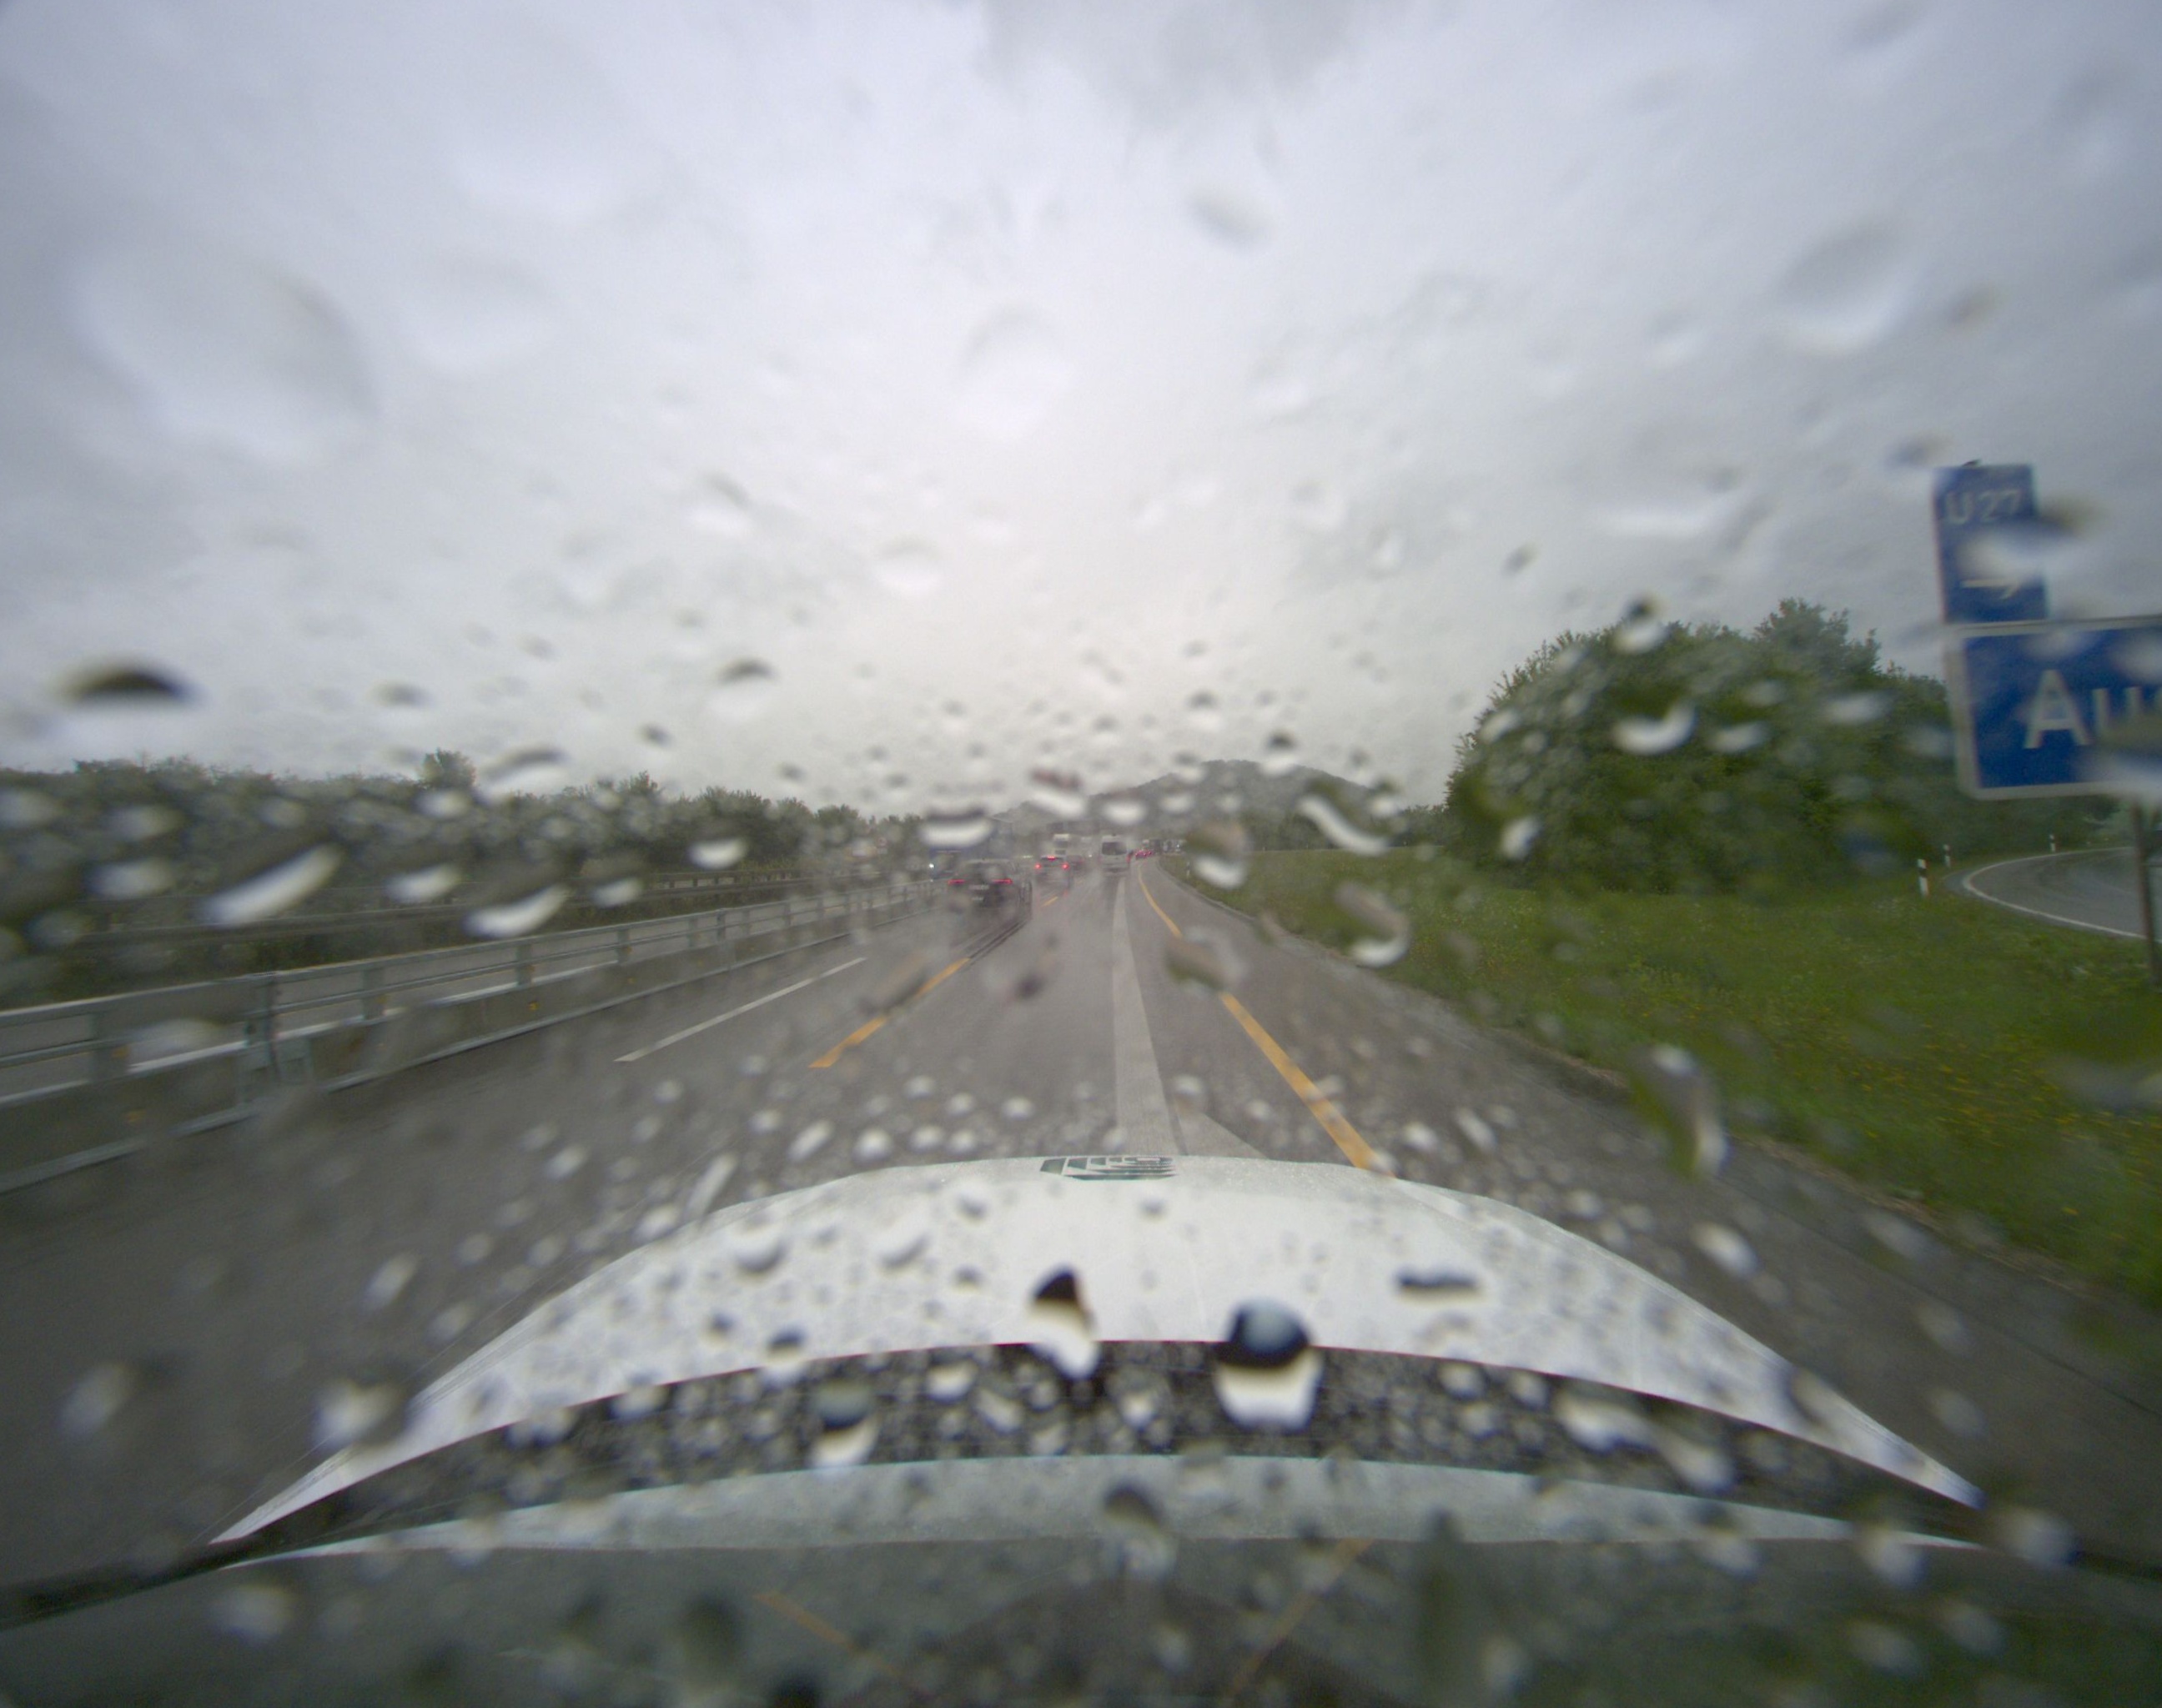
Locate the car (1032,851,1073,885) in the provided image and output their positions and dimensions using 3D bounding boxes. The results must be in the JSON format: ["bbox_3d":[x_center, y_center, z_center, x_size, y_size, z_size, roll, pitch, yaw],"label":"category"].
[{"bbox_3d":[-1.449,0.716,42.594,1.860,1.659,3.990,-1,0,2],"label":"car"}]

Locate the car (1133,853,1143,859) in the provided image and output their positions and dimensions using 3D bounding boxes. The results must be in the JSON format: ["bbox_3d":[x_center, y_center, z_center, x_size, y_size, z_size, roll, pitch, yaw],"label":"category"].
[{"bbox_3d":[9.475,0.316,135.296,1.380,1.078,3.123,-1,0,1],"label":"car"}]

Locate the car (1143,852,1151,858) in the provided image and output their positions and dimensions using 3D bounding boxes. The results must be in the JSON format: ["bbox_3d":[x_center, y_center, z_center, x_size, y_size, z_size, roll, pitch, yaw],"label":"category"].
[{"bbox_3d":[12.899,0.185,159.662,1.378,1.256,3.125,-1,0,3],"label":"car"}]

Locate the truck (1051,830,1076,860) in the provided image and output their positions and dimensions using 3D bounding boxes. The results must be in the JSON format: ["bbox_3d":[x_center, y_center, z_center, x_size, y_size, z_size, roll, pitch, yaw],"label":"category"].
[{"bbox_3d":[-2.390,-1.259,114.930,2.470,4.030,6.462,-1,1,7],"label":"truck"}]

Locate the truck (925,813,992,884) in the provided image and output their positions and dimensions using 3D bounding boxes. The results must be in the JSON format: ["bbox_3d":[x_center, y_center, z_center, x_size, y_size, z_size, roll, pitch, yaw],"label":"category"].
[{"bbox_3d":[-7.498,-0.343,50.668,2.612,4.081,6.677,-1,0,4],"label":"truck"}]

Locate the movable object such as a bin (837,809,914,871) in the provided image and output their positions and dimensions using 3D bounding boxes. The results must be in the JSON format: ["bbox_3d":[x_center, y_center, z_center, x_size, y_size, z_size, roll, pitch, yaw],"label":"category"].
[{"bbox_3d":[-20.835,-1.354,83.685,4.151,5.915,11.061,0,0,5],"label":"movable object such as a bin"}]

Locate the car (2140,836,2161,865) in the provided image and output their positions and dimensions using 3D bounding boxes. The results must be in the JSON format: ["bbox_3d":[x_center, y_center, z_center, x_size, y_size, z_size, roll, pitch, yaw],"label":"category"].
[{"bbox_3d":[57.545,-0.196,43.088,3.648,1.508,1.688,0,0,-35],"label":"car"}]

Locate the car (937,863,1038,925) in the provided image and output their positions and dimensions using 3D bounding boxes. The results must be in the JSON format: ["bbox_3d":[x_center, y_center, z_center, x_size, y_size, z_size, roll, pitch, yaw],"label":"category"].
[{"bbox_3d":[-2.380,0.997,21.949,1.931,1.427,4.763,-1,0,3],"label":"car"}]

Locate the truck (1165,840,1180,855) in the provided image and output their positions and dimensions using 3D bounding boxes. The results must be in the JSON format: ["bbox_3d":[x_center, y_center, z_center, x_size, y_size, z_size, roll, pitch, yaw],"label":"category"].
[{"bbox_3d":[29.029,-2.109,259.007,3.903,4.785,9.938,0,0,12],"label":"truck"}]

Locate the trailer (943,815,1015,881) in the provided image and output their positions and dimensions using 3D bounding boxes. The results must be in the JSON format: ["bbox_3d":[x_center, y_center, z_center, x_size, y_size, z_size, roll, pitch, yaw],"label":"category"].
[{"bbox_3d":[-6.944,-0.347,57.516,2.588,4.077,12.446,-1,0,4],"label":"trailer"}]

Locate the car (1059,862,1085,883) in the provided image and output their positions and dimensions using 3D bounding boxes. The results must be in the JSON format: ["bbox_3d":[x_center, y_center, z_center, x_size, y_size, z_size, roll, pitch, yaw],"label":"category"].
[{"bbox_3d":[-0.652,1.351,60.744,1.846,1.500,4.000,-1,0,1],"label":"car"}]

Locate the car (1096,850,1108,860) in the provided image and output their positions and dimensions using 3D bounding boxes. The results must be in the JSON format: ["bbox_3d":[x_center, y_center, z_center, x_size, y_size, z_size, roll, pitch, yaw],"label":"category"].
[{"bbox_3d":[2.381,0.131,91.665,1.257,1.078,3.257,-1,0,3],"label":"car"}]

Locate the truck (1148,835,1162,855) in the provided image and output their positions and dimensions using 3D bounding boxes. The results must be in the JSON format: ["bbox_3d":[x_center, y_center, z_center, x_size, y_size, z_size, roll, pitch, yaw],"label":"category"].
[{"bbox_3d":[18.223,-2.243,200.074,3.303,4.785,9.926,0,0,7],"label":"truck"}]

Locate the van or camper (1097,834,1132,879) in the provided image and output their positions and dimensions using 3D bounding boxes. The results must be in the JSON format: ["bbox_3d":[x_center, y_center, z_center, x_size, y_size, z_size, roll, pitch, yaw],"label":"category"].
[{"bbox_3d":[2.142,0.143,52.971,2.132,2.721,4.648,-1,0,1],"label":"van or camper"}]

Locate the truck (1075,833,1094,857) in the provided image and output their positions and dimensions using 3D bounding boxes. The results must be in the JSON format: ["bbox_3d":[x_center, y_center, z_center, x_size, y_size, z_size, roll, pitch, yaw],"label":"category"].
[{"bbox_3d":[0.606,-1.643,145.580,2.871,4.101,6.934,-1,1,4],"label":"truck"}]

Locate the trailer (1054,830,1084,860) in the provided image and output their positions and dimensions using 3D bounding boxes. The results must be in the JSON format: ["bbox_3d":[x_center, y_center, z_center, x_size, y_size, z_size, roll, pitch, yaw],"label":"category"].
[{"bbox_3d":[-1.638,-1.366,120.889,2.480,4.049,12.615,-2,1,8],"label":"trailer"}]
